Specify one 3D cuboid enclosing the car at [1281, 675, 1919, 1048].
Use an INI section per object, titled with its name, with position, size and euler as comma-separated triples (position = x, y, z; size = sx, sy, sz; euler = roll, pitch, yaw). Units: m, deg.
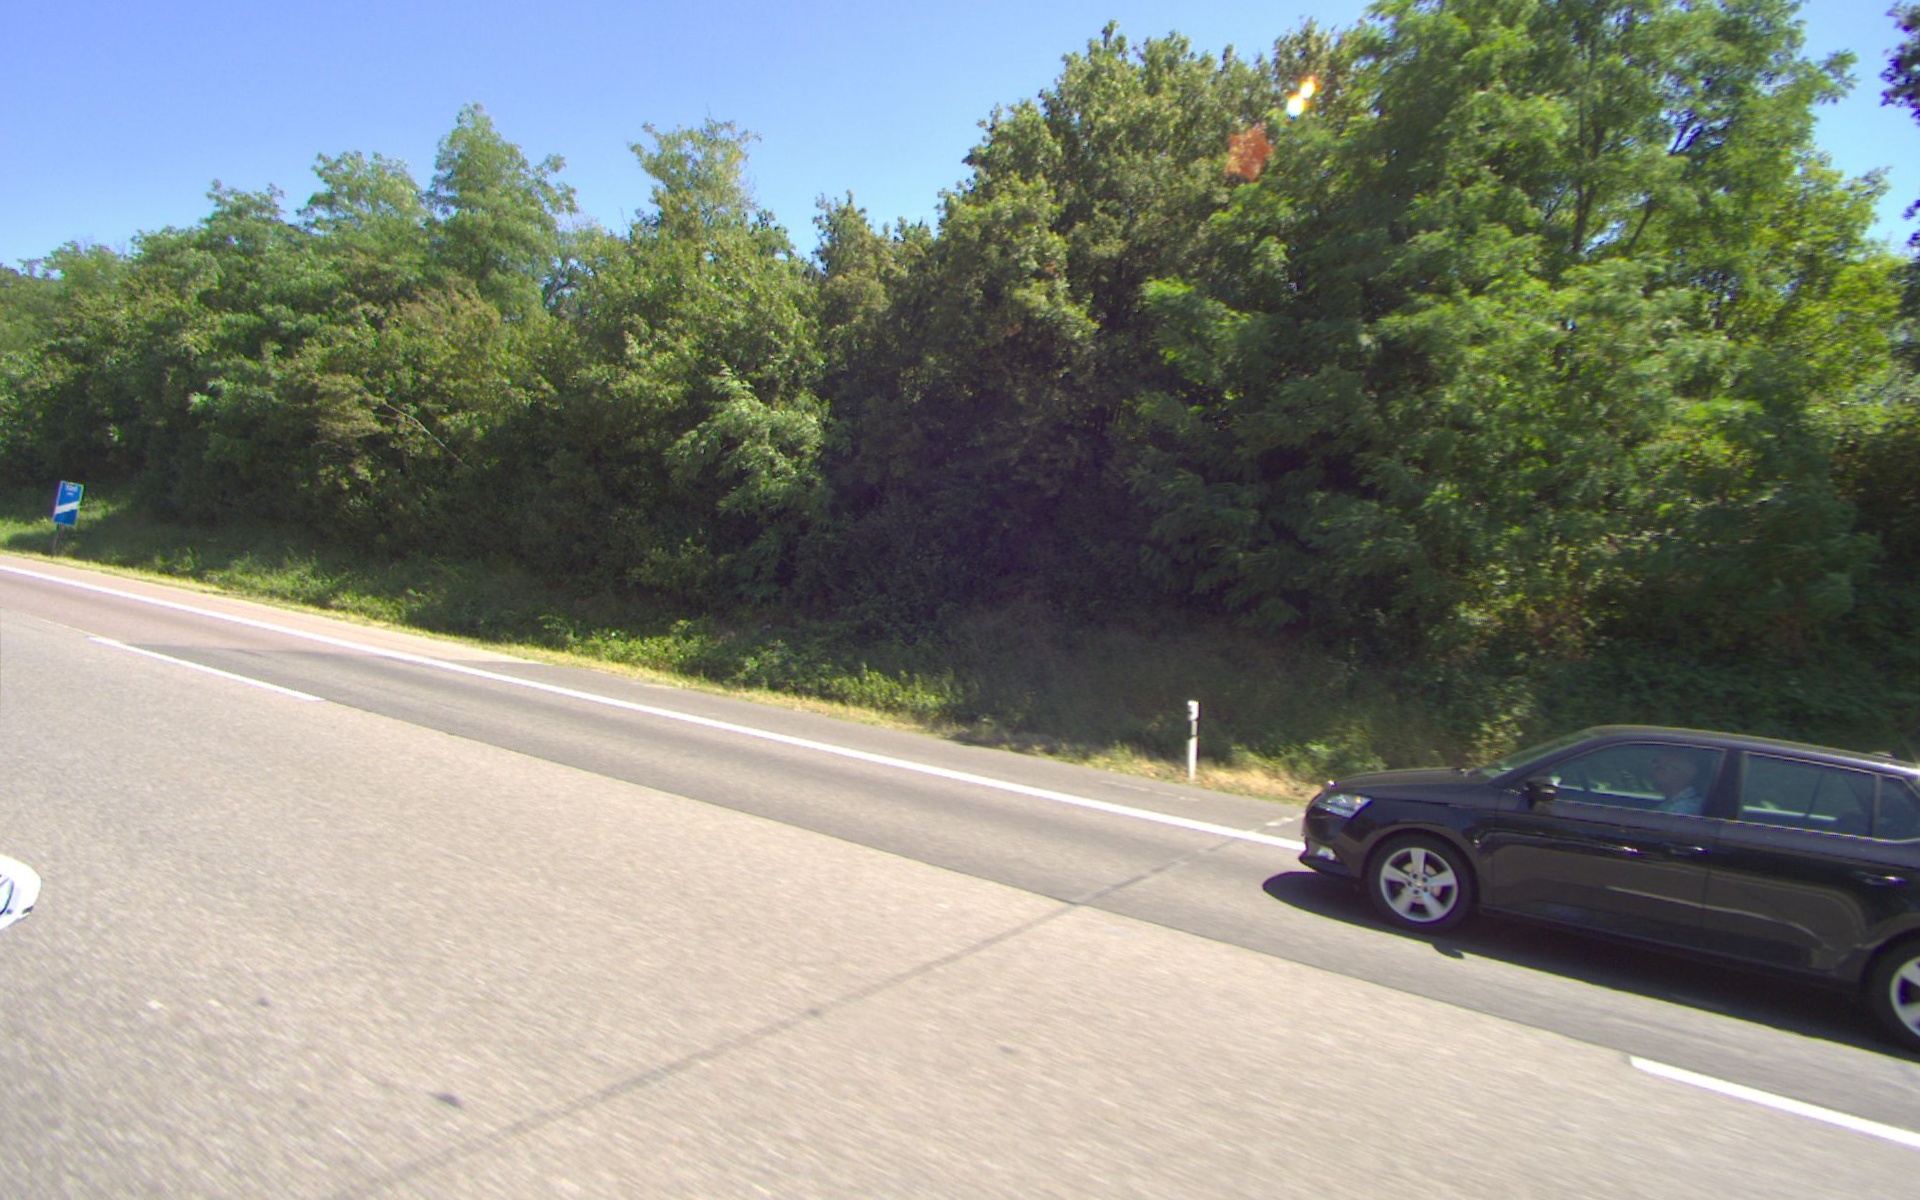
[car]
position = 4.507, 1.484, 6.108
size = 4.498, 1.464, 1.673
euler = 6, -2, 31
